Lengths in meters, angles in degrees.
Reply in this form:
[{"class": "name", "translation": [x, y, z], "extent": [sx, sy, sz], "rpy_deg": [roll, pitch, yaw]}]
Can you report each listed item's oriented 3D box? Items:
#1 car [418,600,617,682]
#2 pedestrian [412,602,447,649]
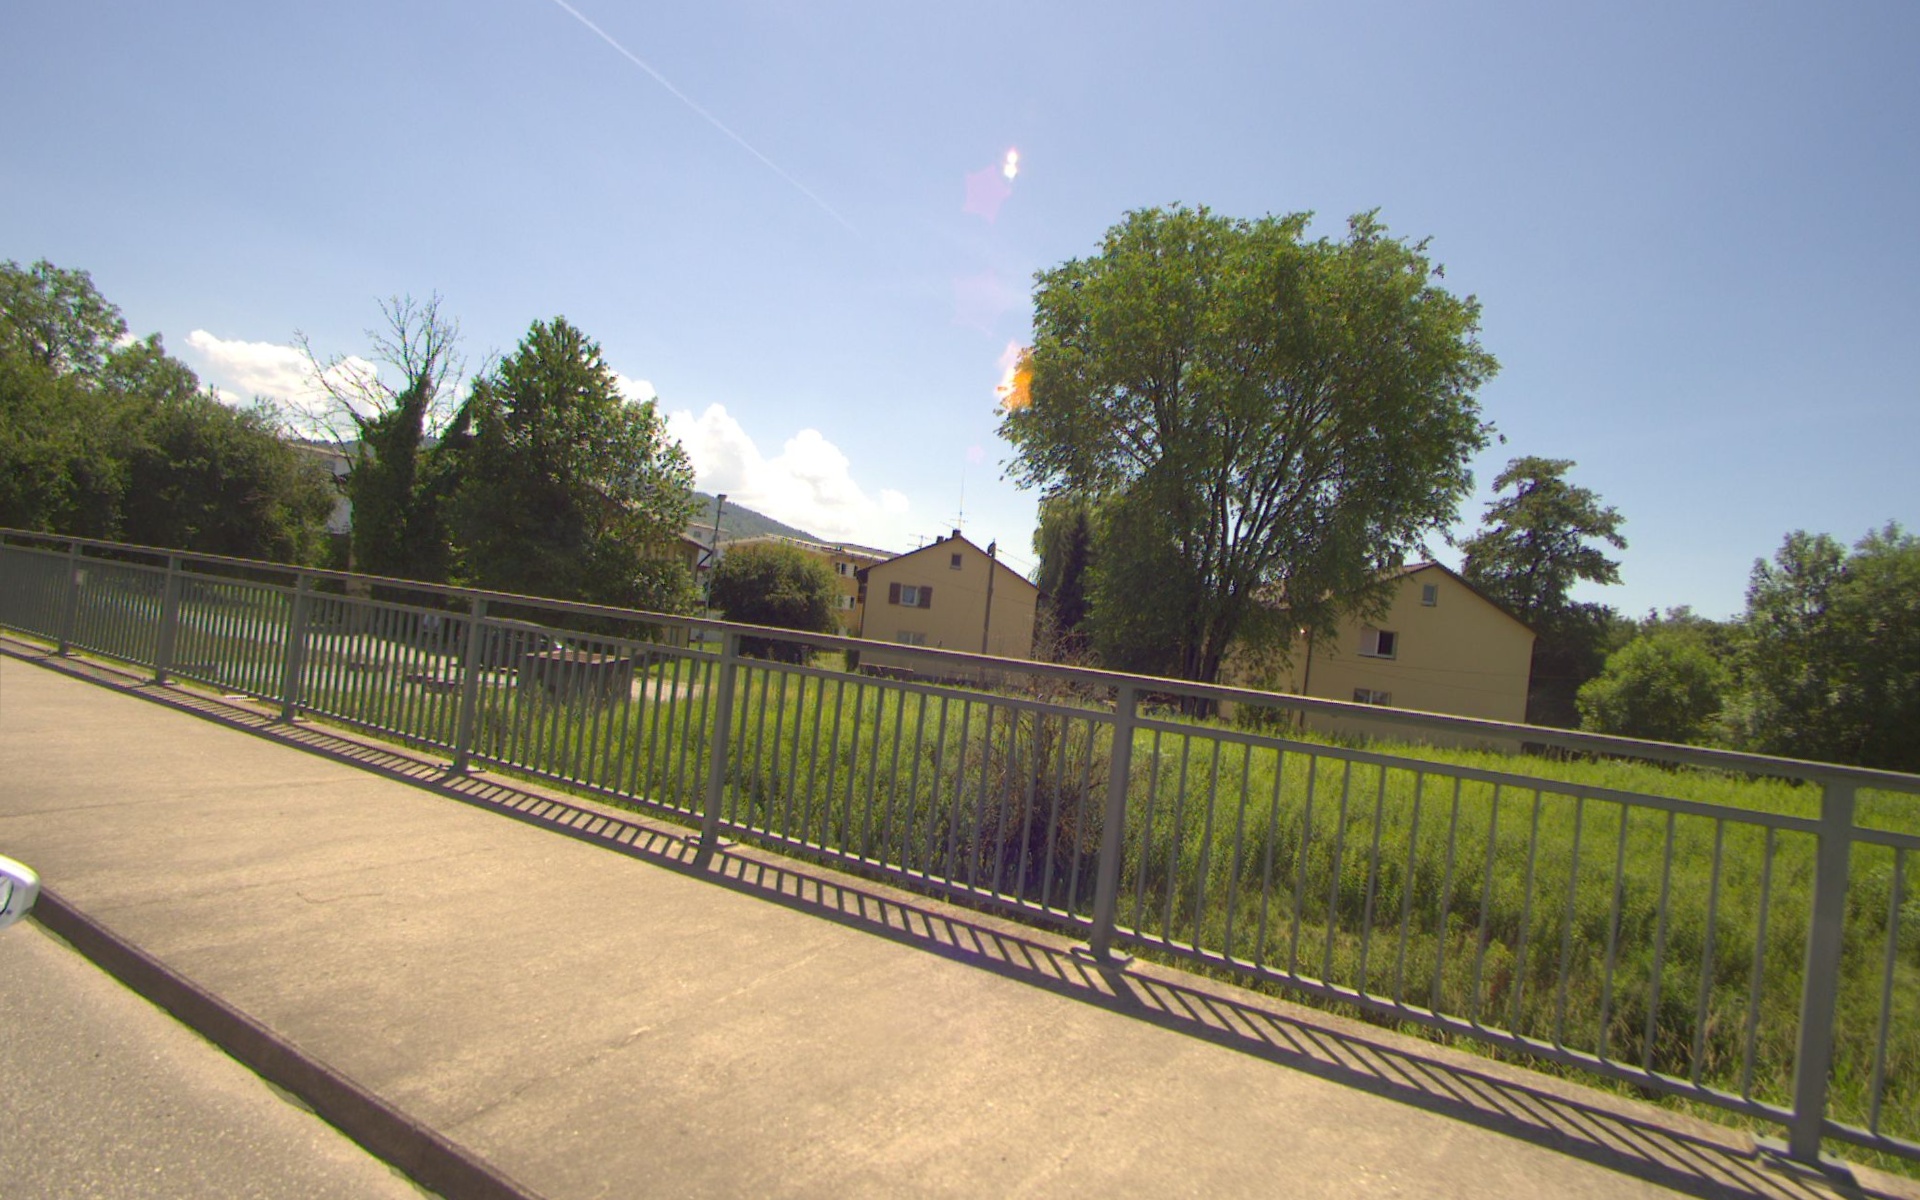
[{"class": "car", "translation": [-12.012, 1.119, 27.584], "extent": [4.434, 1.643, 1.999], "rpy_deg": [7, -2, -7]}, {"class": "pedestrian", "translation": [-17.254, 0.818, 32.722], "extent": [0.839, 1.411, 0.679], "rpy_deg": [8, 2, 44]}]
